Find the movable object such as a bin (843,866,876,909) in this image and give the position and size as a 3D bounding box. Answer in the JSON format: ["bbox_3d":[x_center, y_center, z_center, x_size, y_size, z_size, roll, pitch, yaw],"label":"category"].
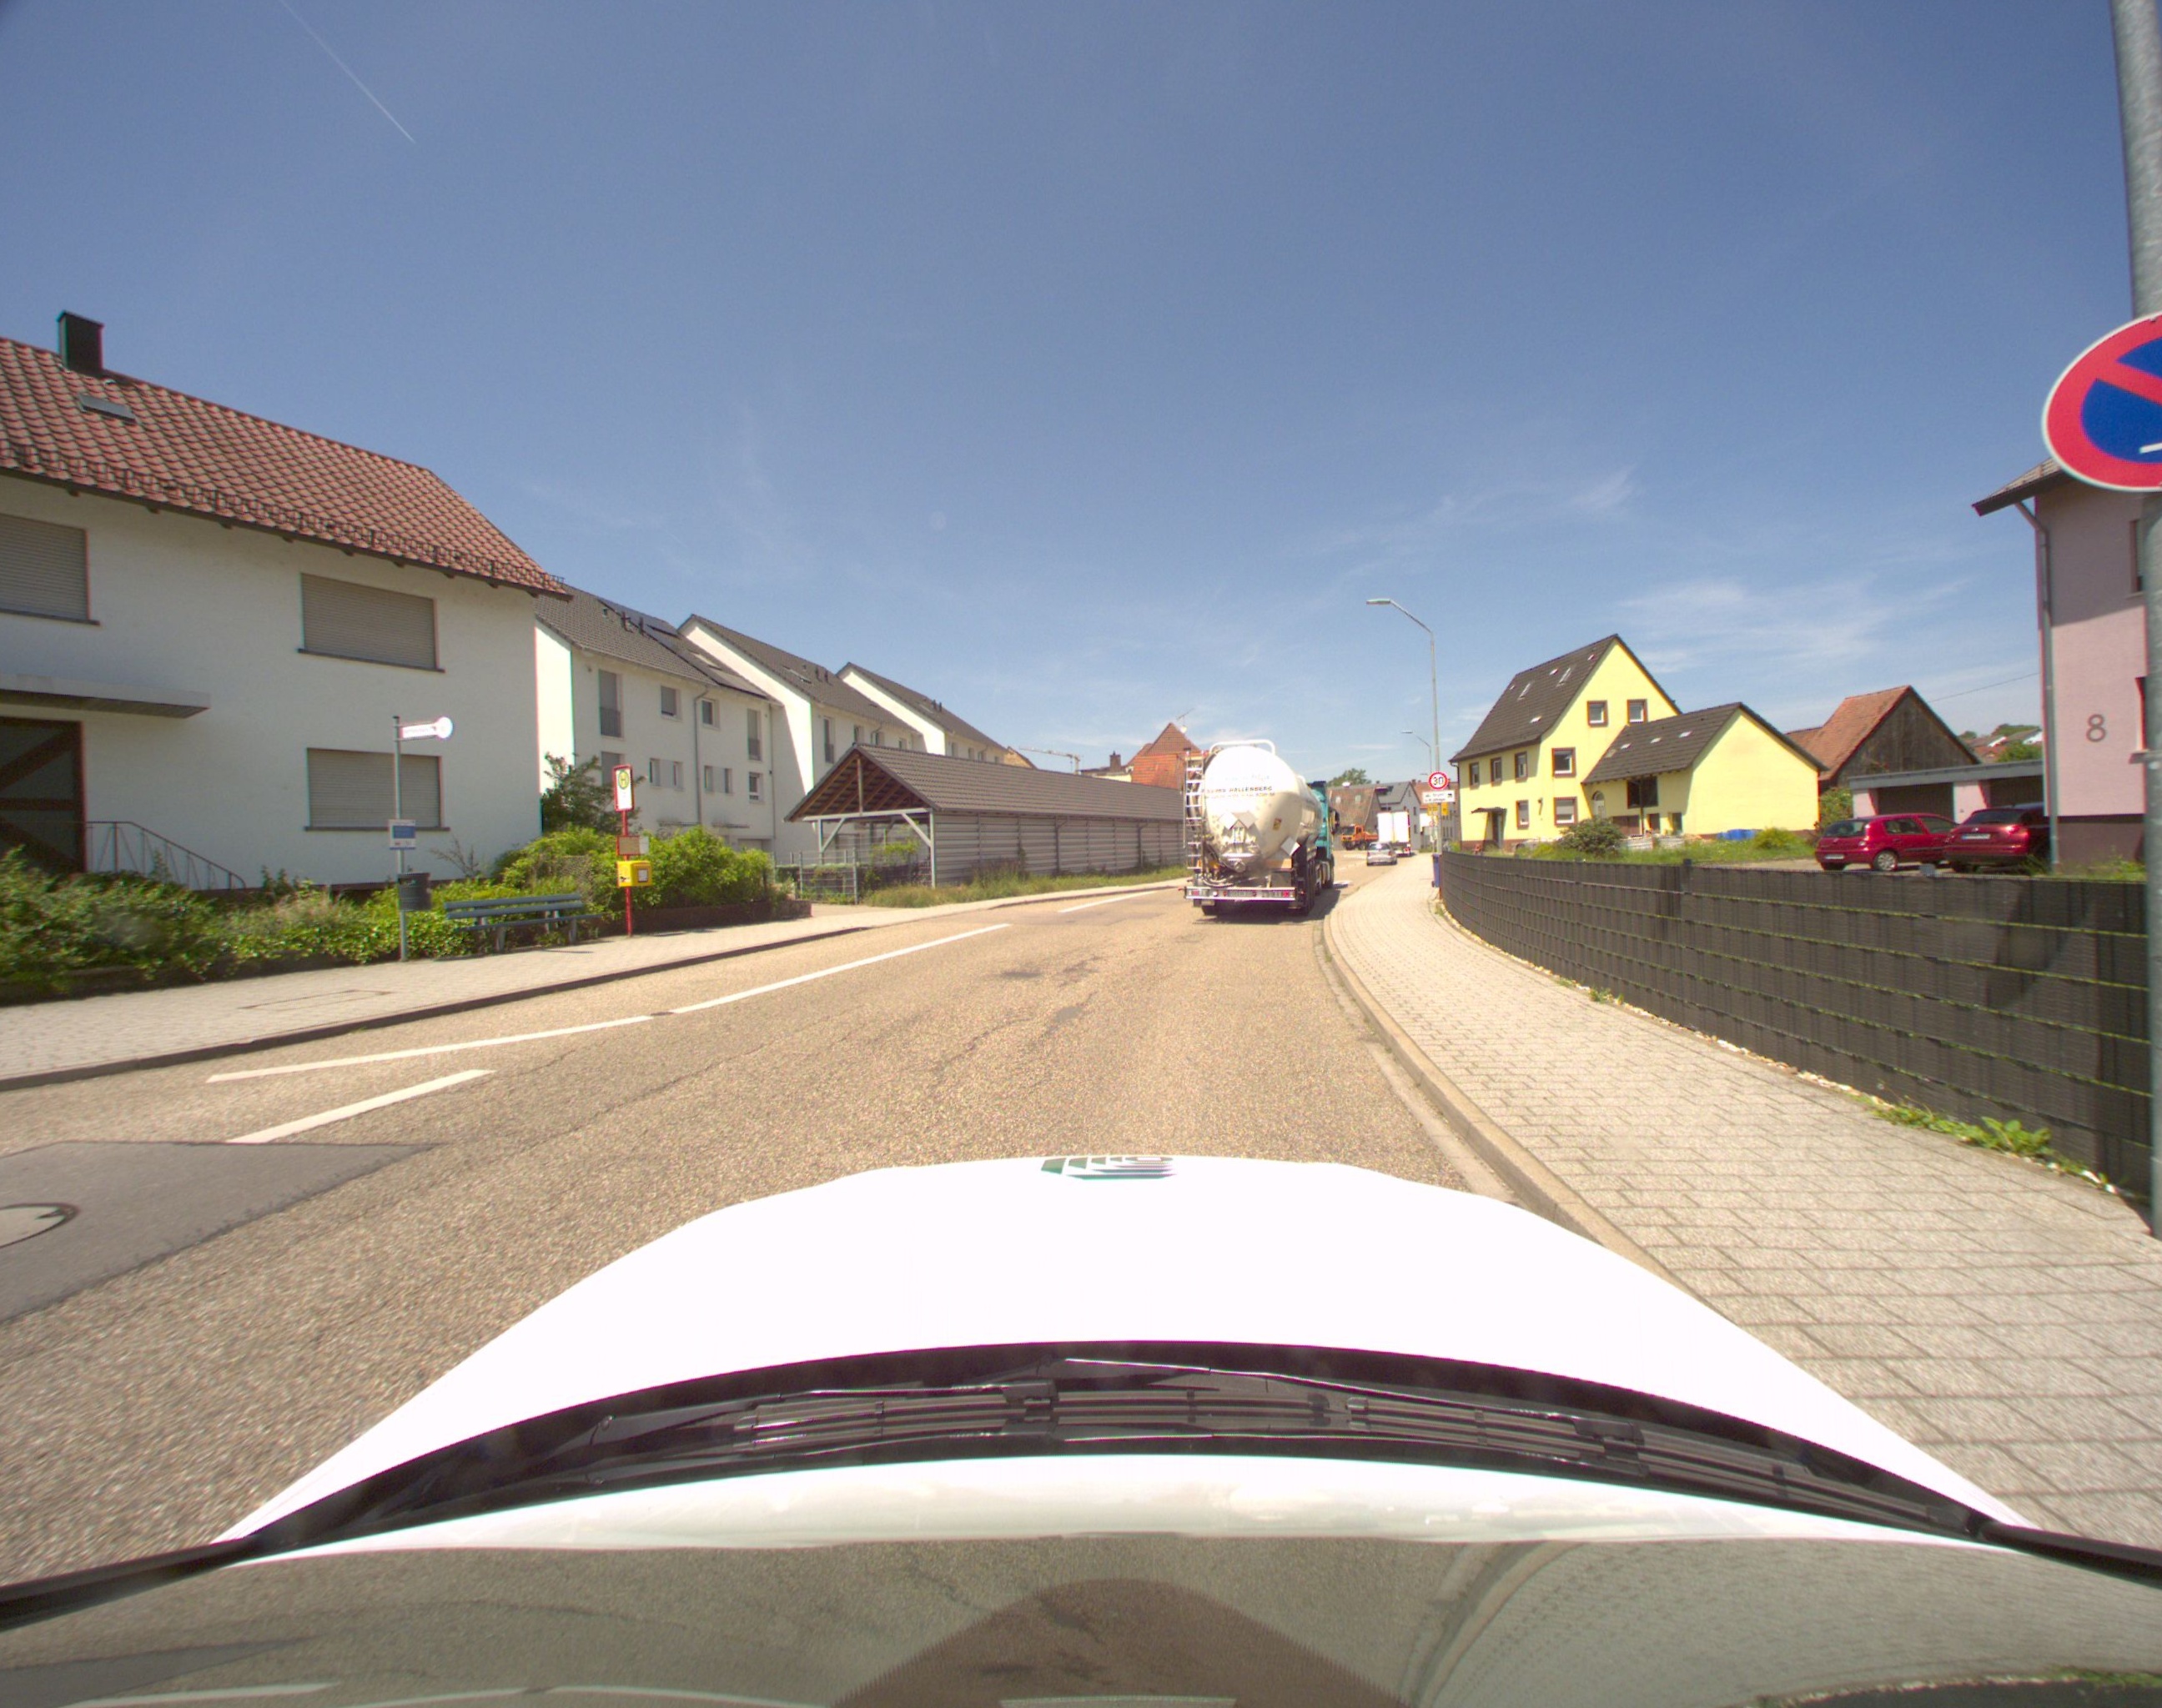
[{"bbox_3d":[-6.755,1.008,24.841,0.634,1.278,0.698,-1,0,24],"label":"movable object such as a bin"}]

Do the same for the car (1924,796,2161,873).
[{"bbox_3d":[21.829,-0.423,18.222,4.101,1.548,1.849,-2,0,-2],"label":"car"}]

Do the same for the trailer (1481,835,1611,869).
[{"bbox_3d":[23.025,-0.110,40.426,5.336,1.546,2.135,-1,0,-4],"label":"trailer"}]

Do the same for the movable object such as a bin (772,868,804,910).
[{"bbox_3d":[-9.283,1.102,25.811,0.634,1.278,0.698,-1,0,24],"label":"movable object such as a bin"}]

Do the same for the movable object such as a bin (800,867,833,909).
[{"bbox_3d":[-8.270,1.066,25.470,0.634,1.278,0.698,-1,0,24],"label":"movable object such as a bin"}]

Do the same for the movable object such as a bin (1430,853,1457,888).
[{"bbox_3d":[11.252,0.503,25.283,0.561,1.057,0.653,-2,-1,9],"label":"movable object such as a bin"}]

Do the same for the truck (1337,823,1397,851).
[{"bbox_3d":[34.913,-2.021,99.330,7.484,3.181,2.644,0,-1,-30],"label":"truck"}]

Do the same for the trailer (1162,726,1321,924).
[{"bbox_3d":[4.880,-0.616,22.218,2.929,3.948,11.671,-1,0,17],"label":"trailer"}]

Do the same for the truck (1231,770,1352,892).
[{"bbox_3d":[7.821,-0.766,29.744,2.960,3.965,5.612,-2,0,27],"label":"truck"}]

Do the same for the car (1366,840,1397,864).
[{"bbox_3d":[19.492,-0.145,52.892,1.827,1.486,4.020,-1,0,20],"label":"car"}]

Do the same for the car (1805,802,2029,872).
[{"bbox_3d":[21.165,-0.404,20.741,3.810,1.486,1.762,-3,0,2],"label":"car"}]

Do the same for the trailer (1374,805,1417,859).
[{"bbox_3d":[27.846,-1.839,72.466,3.106,4.277,12.558,-2,0,20],"label":"trailer"}]
